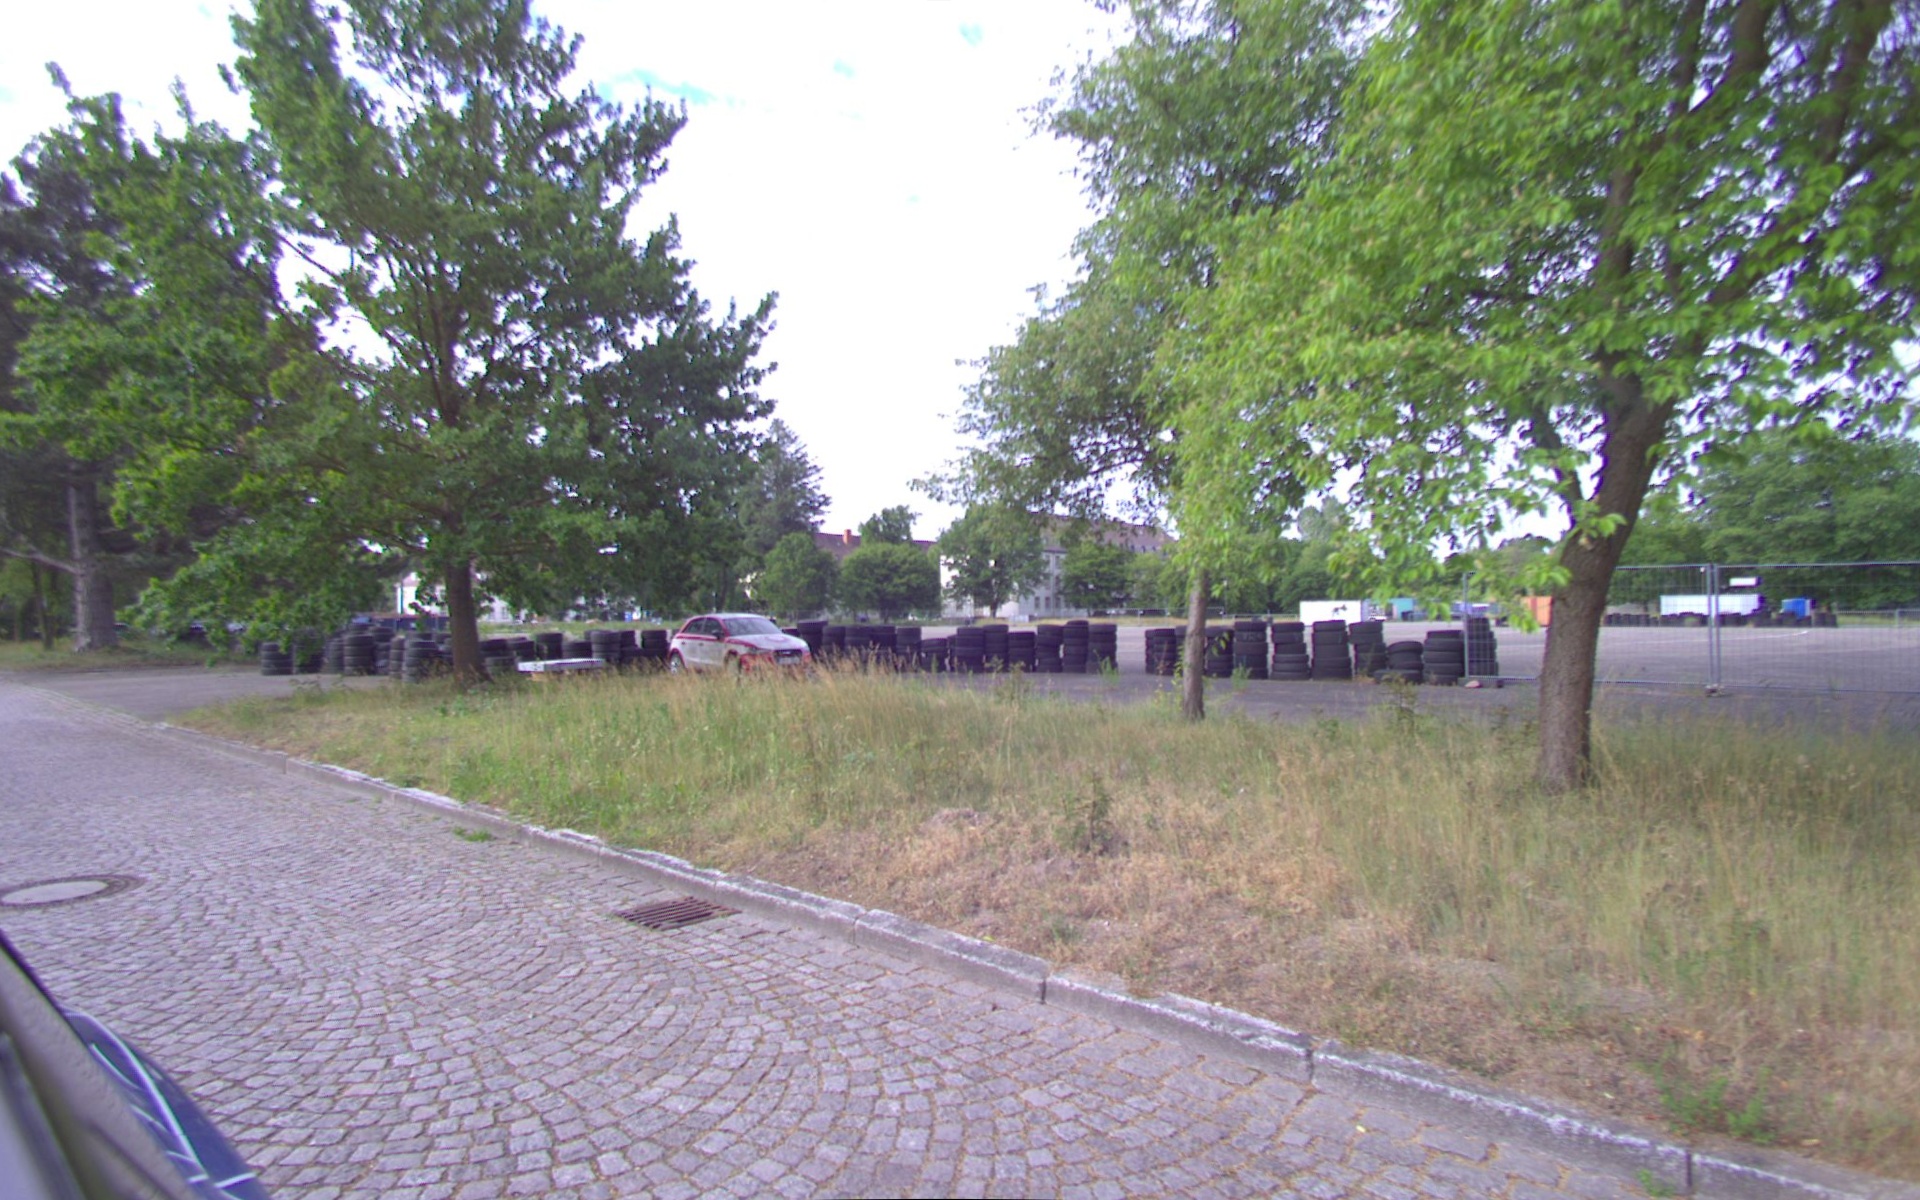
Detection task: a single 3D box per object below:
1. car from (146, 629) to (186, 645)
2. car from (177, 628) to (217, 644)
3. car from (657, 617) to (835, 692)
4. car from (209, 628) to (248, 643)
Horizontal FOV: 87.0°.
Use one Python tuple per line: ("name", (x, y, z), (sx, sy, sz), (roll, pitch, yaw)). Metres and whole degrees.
("car", (-74.530, 3.473, 94.947), (4.447, 1.460, 1.975), (-2, -1, 38))
("car", (-73.279, 3.477, 97.143), (4.447, 1.460, 1.975), (-2, -1, 38))
("car", (-4.654, 1.114, 21.655), (1.802, 1.442, 4.223), (0, -2, -43))
("car", (-71.694, 3.476, 99.144), (4.447, 1.460, 1.975), (-2, -1, 38))
